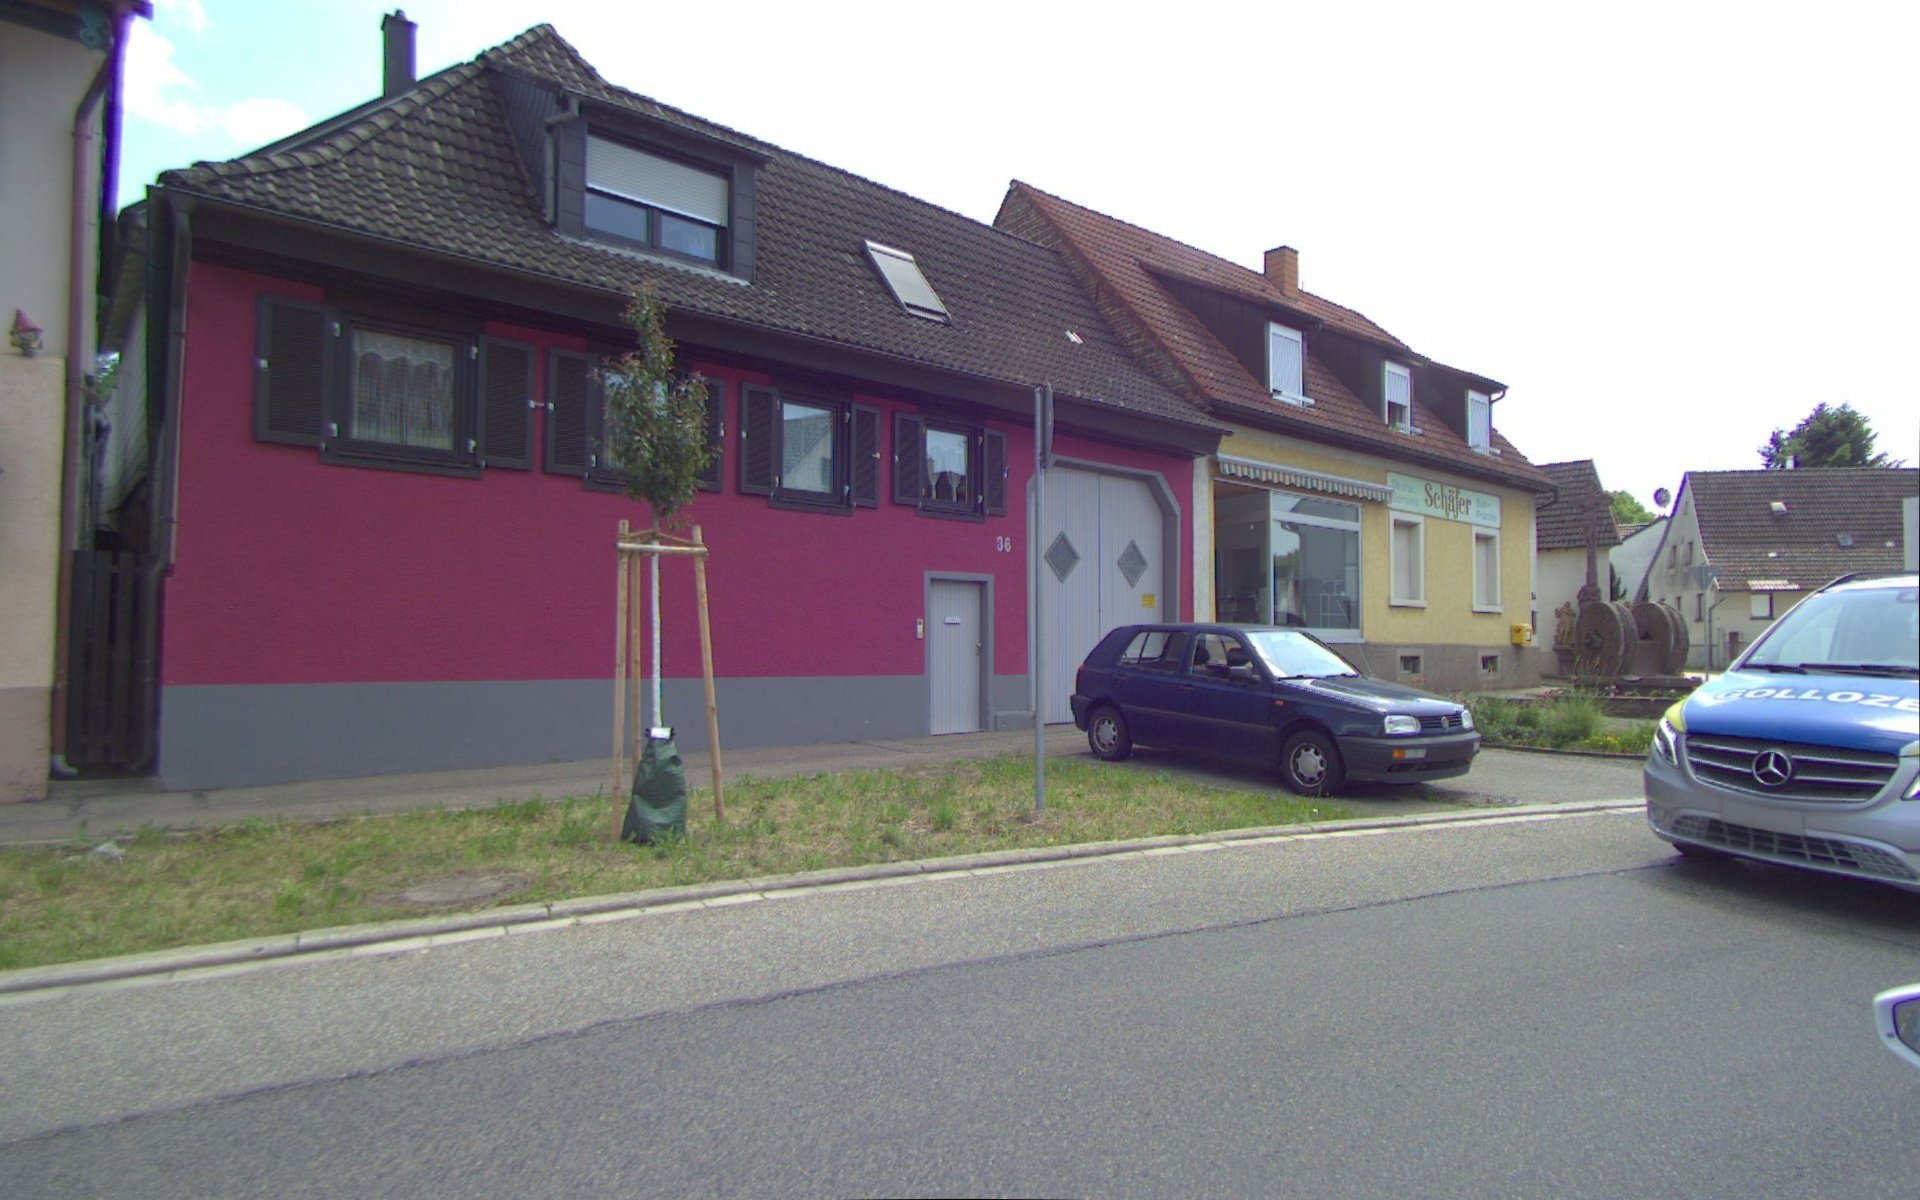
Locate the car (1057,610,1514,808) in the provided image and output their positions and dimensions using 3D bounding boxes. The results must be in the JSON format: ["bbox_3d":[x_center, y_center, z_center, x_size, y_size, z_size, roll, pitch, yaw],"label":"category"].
[{"bbox_3d":[2.912,0.867,9.712,1.706,1.483,3.937,2,-2,-37],"label":"car"}]

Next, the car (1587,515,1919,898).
[{"bbox_3d":[6.652,0.636,6.300,4.859,1.823,1.992,3,-2,-19],"label":"car"}]
